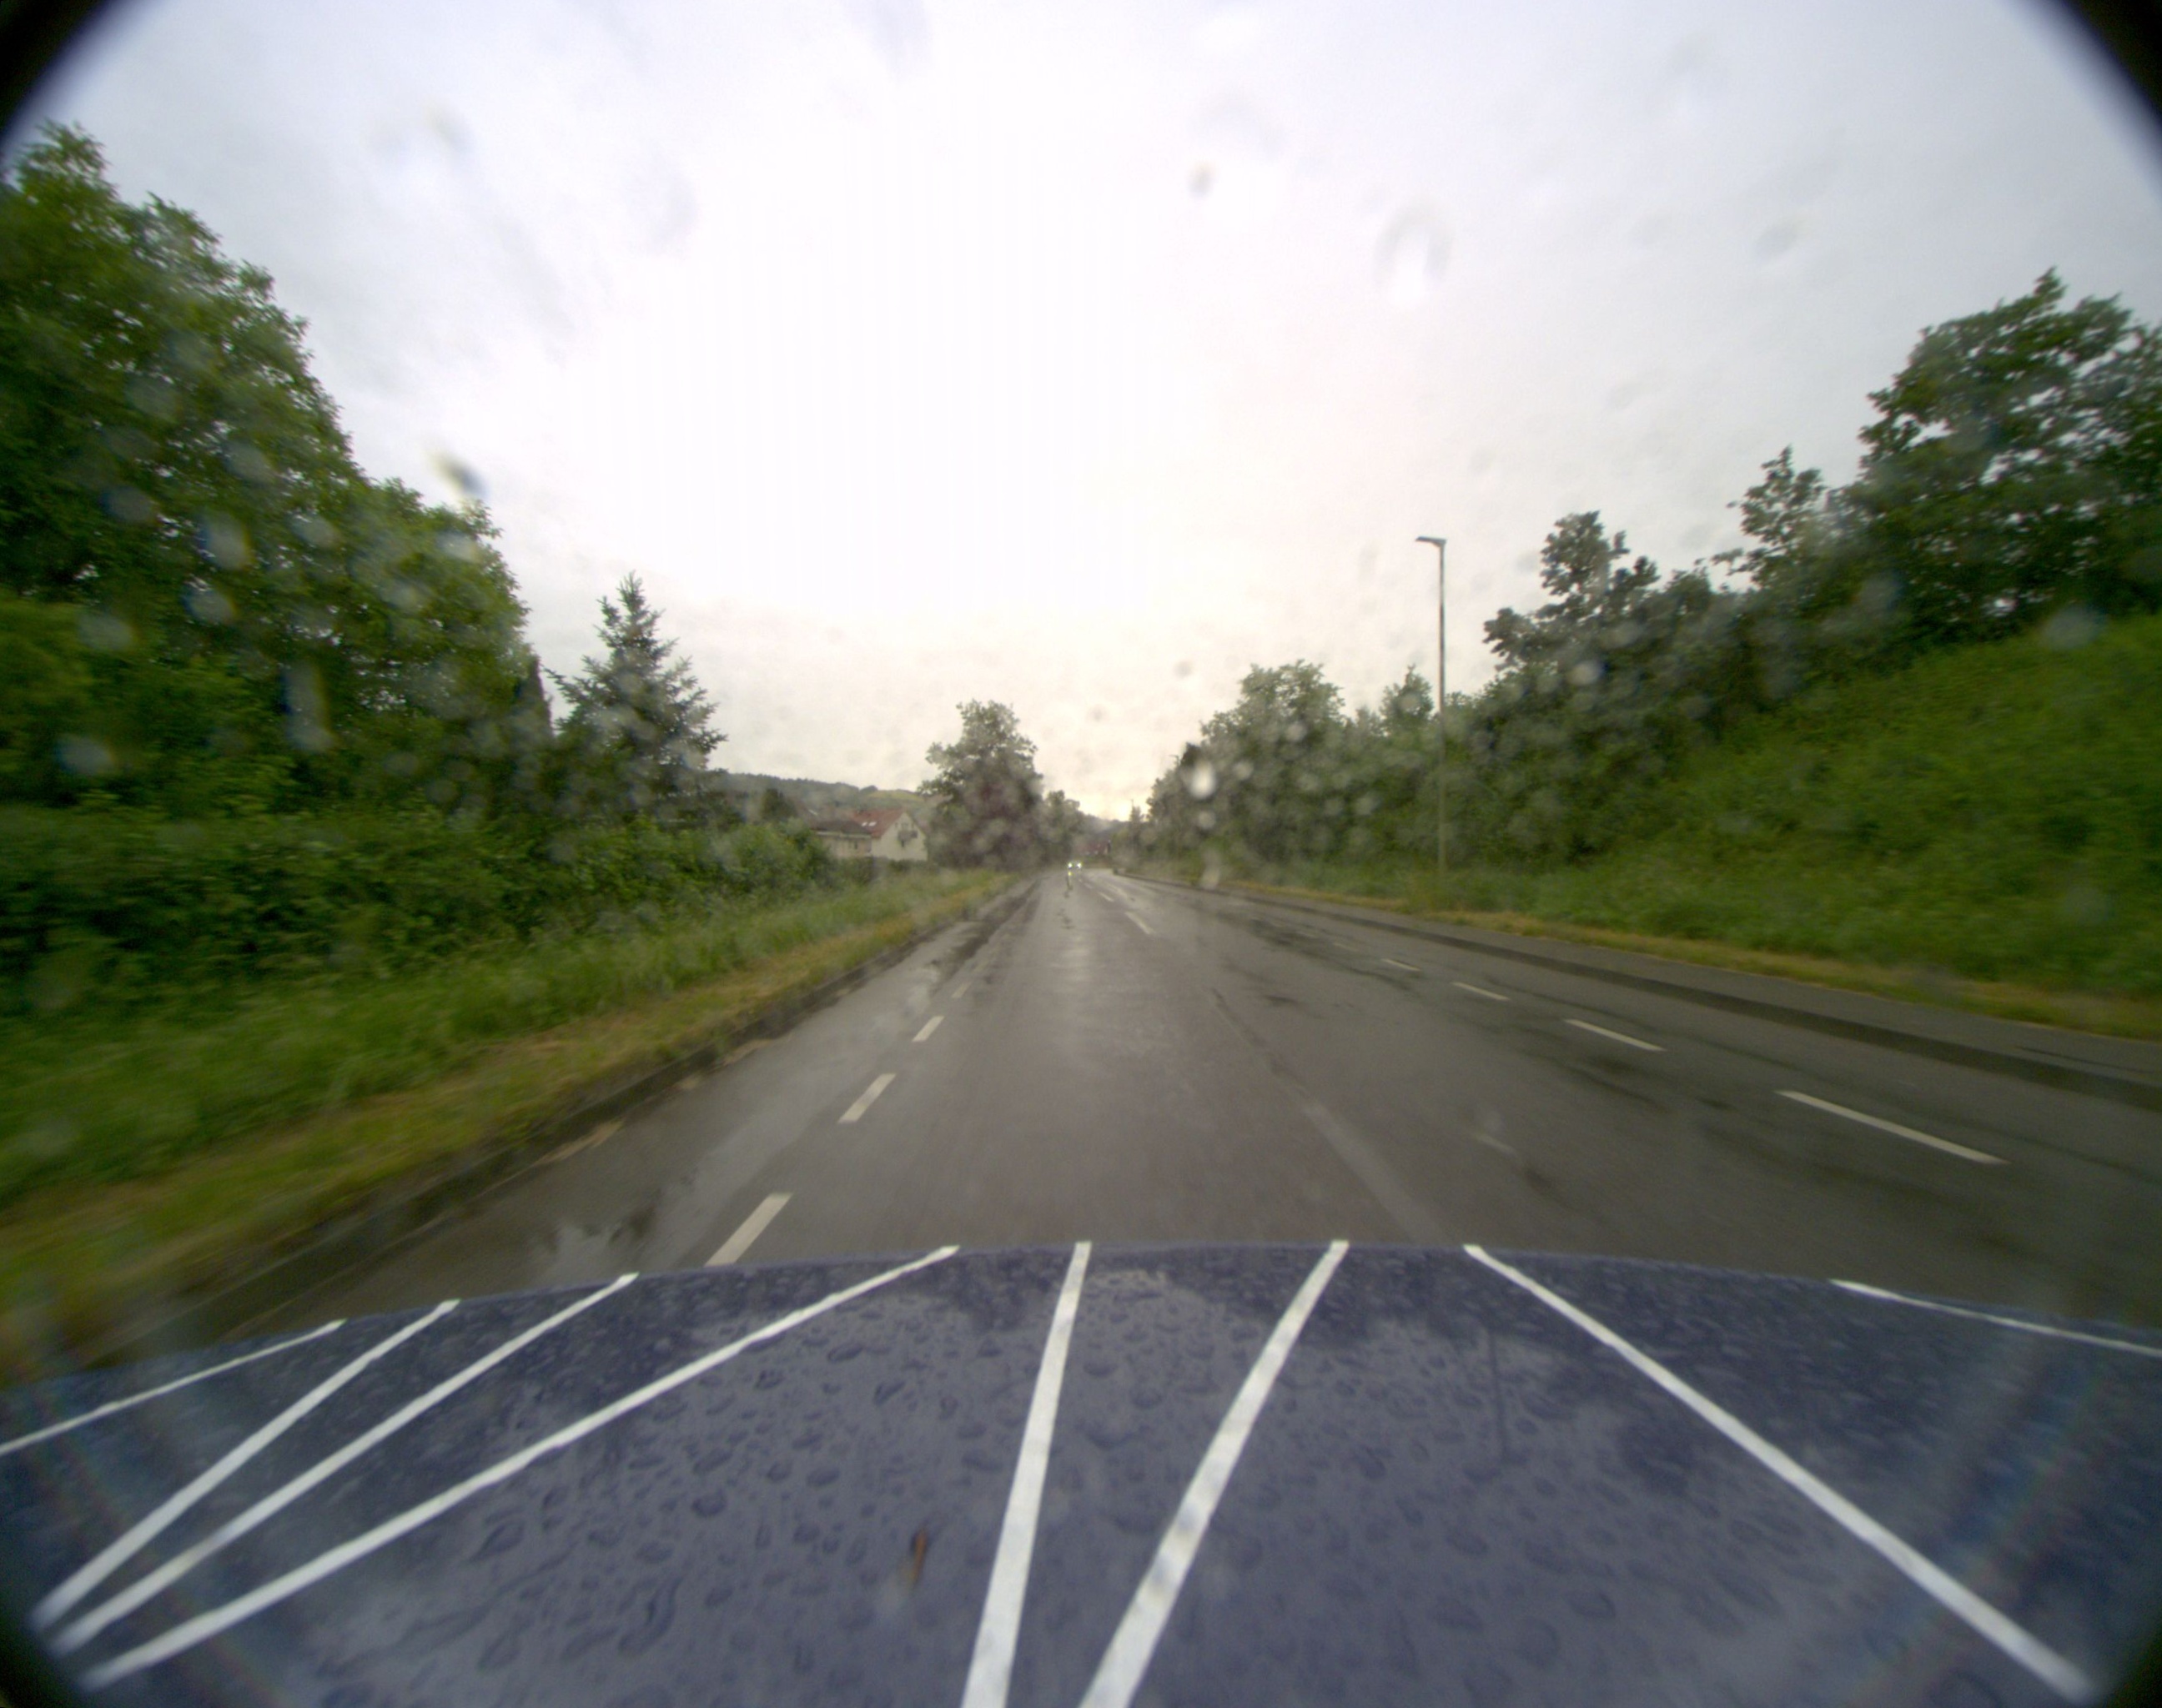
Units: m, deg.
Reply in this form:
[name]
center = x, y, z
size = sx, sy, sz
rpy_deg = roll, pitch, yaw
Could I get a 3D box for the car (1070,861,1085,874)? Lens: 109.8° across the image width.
[car]
center = -0.437, 1.891, 108.107
size = 1.998, 1.831, 4.000
rpy_deg = -1, 0, 2
